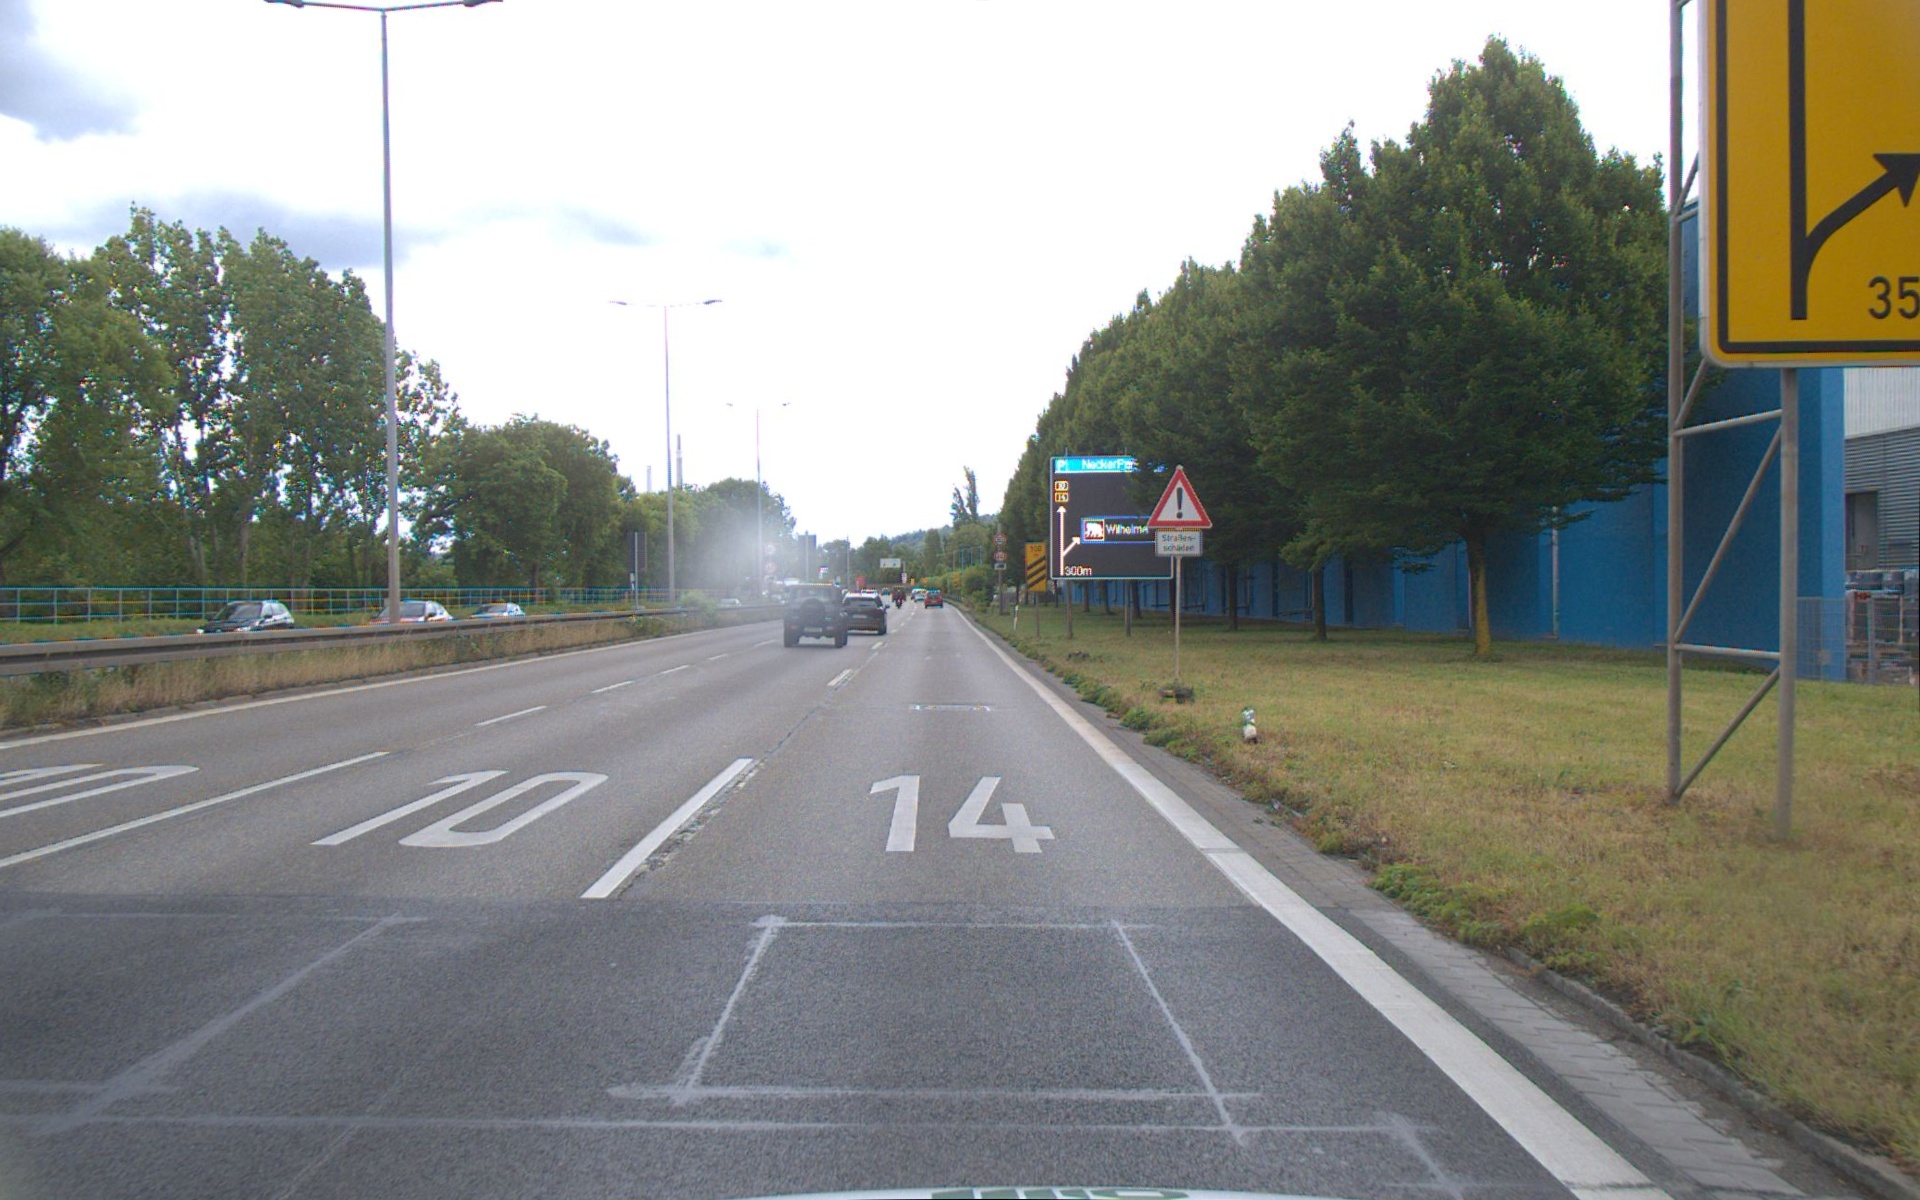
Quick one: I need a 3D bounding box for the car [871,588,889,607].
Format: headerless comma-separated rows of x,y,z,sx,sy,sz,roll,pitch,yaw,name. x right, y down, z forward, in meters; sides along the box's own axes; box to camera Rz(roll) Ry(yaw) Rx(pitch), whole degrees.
-7.949,-0.233,164.409,1.664,1.772,4.390,-2,0,-4,car

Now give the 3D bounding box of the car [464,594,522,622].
-22.887,0.370,81.174,1.626,1.322,4.786,0,1,-2,car

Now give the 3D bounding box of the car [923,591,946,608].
-2.317,-0.050,147.235,1.935,1.448,4.898,-2,0,-2,car

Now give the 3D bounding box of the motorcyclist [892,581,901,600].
-5.851,-0.857,153.073,0.775,1.791,0.923,0,1,-1,motorcyclist

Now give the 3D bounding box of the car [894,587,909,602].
-7.645,-0.723,216.497,1.973,1.968,4.898,-2,0,-2,car

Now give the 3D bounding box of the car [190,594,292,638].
-23.016,0.478,53.124,1.546,1.322,4.061,0,1,-1,car

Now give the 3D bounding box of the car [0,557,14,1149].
-3.398,0.700,2.327,1.841,1.566,4.145,0,1,-2,car

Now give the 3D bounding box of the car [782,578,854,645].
-3.887,0.278,45.880,1.663,1.715,3.999,2,1,-1,car

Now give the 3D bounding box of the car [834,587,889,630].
-3.517,0.284,59.819,1.808,1.448,4.898,-2,0,-2,car

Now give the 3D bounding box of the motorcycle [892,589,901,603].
-5.853,-0.354,152.976,0.775,1.240,2.329,0,1,-1,motorcycle

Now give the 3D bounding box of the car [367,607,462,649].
-15.967,0.800,48.600,1.514,1.125,4.066,0,1,-1,car

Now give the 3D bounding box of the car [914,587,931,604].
-4.615,-0.531,202.721,1.973,1.968,4.898,-2,0,-2,car

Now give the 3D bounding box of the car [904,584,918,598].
-7.123,-1.274,242.084,1.973,1.968,4.898,-2,0,-2,car

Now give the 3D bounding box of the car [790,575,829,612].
-7.567,-0.351,83.603,1.663,1.772,3.999,2,1,-2,car
